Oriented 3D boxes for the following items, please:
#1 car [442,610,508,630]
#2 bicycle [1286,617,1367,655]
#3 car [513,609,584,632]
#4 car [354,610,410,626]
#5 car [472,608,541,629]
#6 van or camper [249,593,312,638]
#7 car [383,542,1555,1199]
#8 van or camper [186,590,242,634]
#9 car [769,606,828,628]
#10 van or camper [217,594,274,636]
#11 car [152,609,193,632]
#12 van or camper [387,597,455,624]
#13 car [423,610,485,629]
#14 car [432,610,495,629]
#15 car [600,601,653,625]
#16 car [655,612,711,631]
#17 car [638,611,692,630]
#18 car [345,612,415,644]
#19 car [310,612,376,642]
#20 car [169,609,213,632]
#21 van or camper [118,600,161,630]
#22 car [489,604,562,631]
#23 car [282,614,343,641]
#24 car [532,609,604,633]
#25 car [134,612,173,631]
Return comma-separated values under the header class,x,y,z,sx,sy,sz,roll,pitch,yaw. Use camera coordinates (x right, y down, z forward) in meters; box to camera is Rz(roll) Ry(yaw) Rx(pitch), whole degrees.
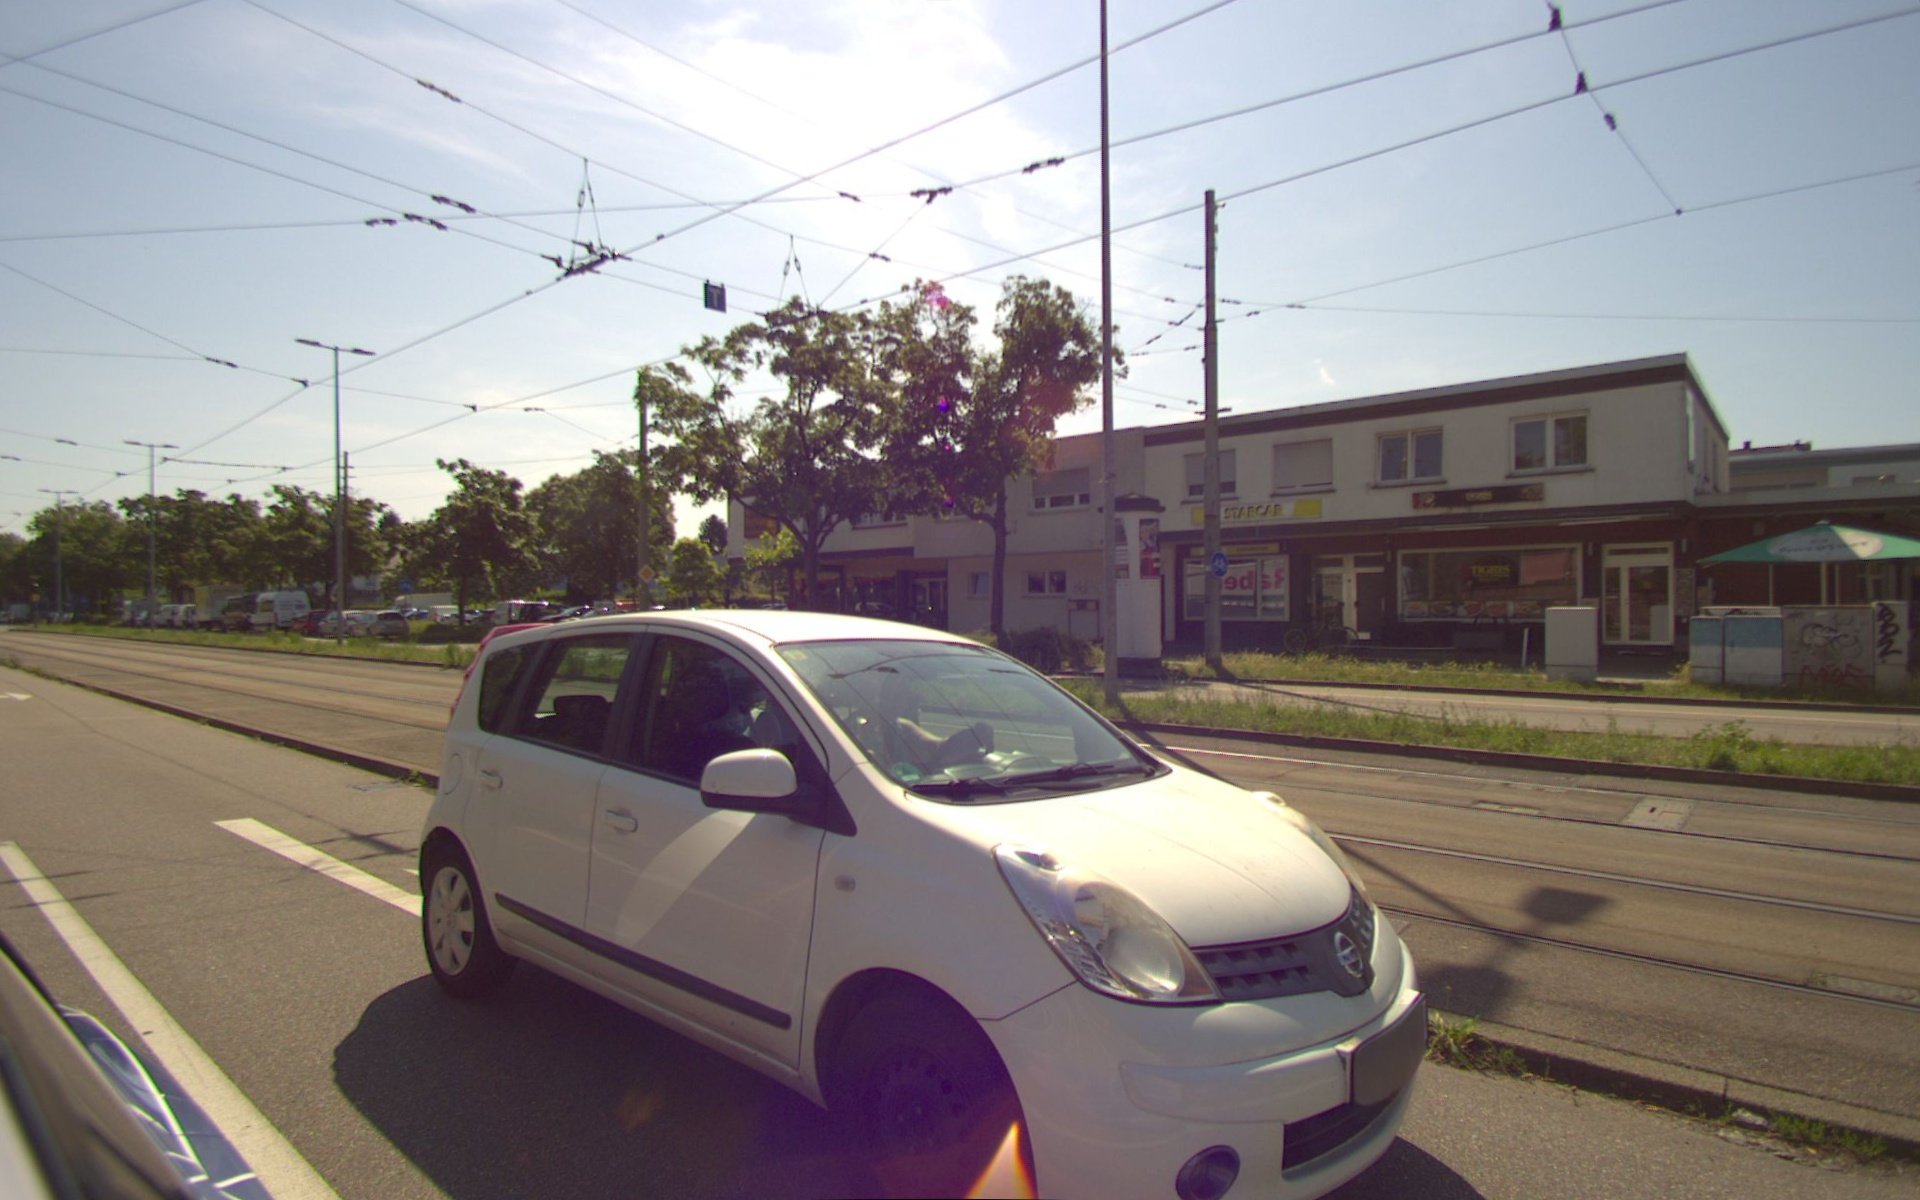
class,x,y,z,sx,sy,sz,roll,pitch,yaw
car,-32.616,1.325,68.108,1.811,1.291,3.579,-1,-1,39
bicycle,9.868,0.958,27.314,1.910,0.990,0.750,-1,-1,42
car,-24.787,1.229,61.020,1.711,1.372,3.579,-1,-1,39
car,-46.600,1.442,81.631,1.711,1.291,3.579,-1,-1,39
car,-28.611,1.146,63.921,1.711,1.294,3.579,-1,-1,39
van or camper,-41.711,0.934,62.066,4.837,2.652,2.014,-1,-1,41
car,-0.360,0.736,3.643,4.065,1.573,1.747,-1,-2,42
van or camper,-52.983,0.828,71.880,5.278,3.007,2.101,-1,-1,41
car,-10.491,1.109,65.769,1.711,1.372,3.579,-1,-1,39
van or camper,-47.074,0.966,66.646,4.837,2.652,2.014,-1,-1,41
car,-64.259,1.656,82.584,4.230,1.781,1.868,-1,-1,41
van or camper,-57.339,1.094,107.802,2.299,2.751,6.000,-1,-1,43
car,-36.006,1.367,72.039,1.711,1.291,3.579,-1,-1,39
car,-34.455,1.351,70.298,1.711,1.291,3.579,-1,-1,39
car,-25.972,0.992,78.902,1.711,1.791,3.579,-1,-1,39
car,-20.178,1.558,73.807,1.711,1.372,3.579,-1,-1,39
car,-22.009,1.533,75.653,1.711,1.372,3.579,-1,-1,39
car,-29.669,1.408,51.712,4.285,1.506,1.868,-1,2,43
car,-33.659,1.463,55.154,4.283,1.572,1.868,-1,-1,41
car,-59.194,1.587,77.839,4.230,1.747,1.868,-1,-1,41
van or camper,-73.632,1.319,90.758,5.450,2.639,2.086,0,-2,42
car,-26.806,1.052,62.458,1.949,1.581,3.702,-1,-1,39
car,-37.644,1.549,58.771,4.230,1.506,1.868,-1,-1,41
car,-22.845,1.211,59.071,1.711,1.372,3.579,-1,-1,39
car,-68.888,1.791,86.397,4.230,1.572,1.868,-1,-1,41
